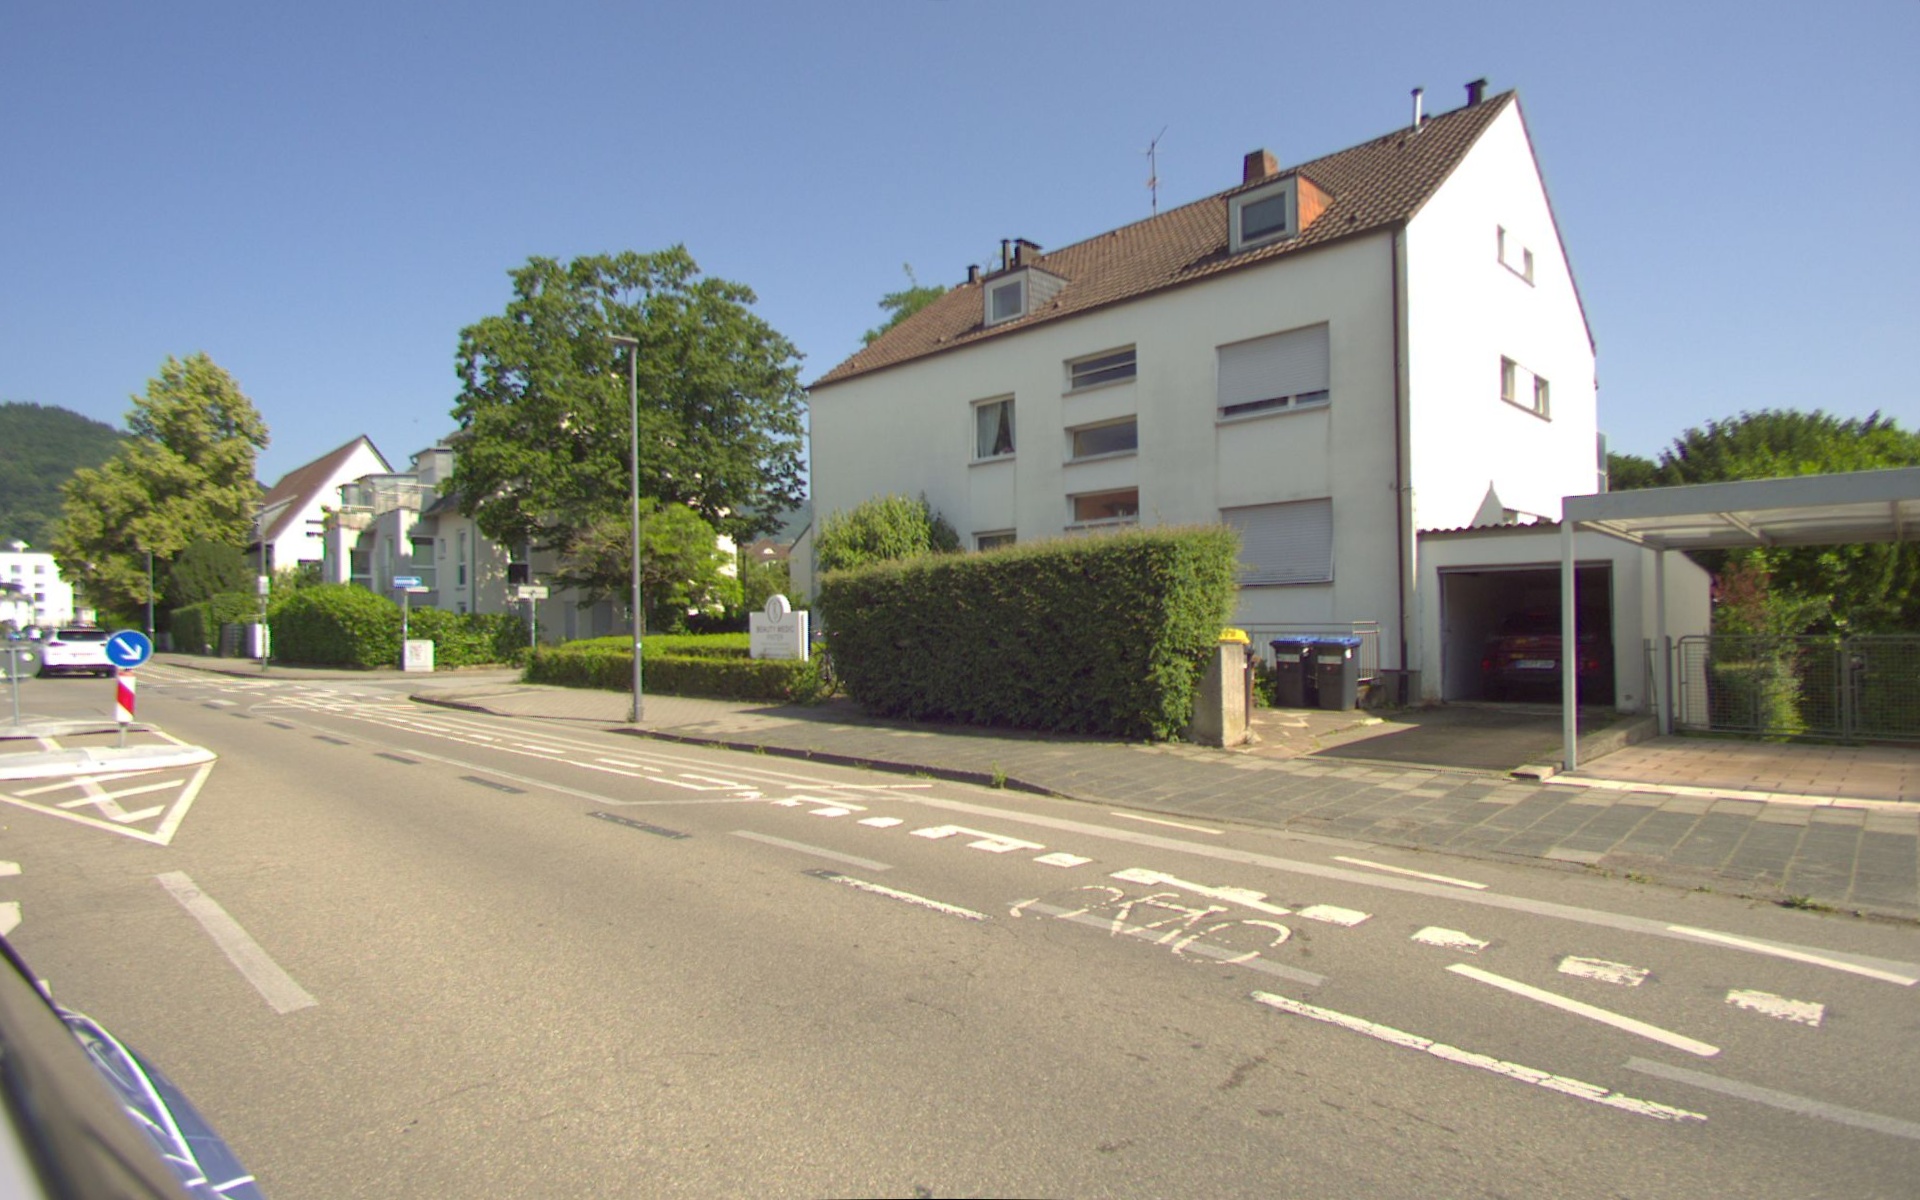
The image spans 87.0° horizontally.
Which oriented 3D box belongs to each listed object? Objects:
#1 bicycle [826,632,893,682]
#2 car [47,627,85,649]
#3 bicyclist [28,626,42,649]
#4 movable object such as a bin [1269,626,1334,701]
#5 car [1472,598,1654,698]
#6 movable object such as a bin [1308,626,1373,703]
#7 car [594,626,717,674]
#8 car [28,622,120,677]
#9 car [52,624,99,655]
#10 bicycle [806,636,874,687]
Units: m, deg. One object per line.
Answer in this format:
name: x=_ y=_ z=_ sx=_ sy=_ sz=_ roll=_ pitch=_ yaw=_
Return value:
bicycle: x=-1.890 y=1.055 z=19.016 sx=1.368 sy=0.880 sz=0.330 roll=-1 pitch=3 yaw=39
car: x=-65.339 y=2.770 z=73.957 sx=1.812 sy=1.497 sz=4.564 roll=-1 pitch=-1 yaw=-45
bicyclist: x=-66.106 y=2.670 z=72.313 sx=0.668 sy=1.592 sz=0.860 roll=4 pitch=-4 yaw=-45
movable object such as a bin: x=5.215 y=0.951 z=15.452 sx=0.707 sy=1.100 sz=0.693 roll=-1 pitch=-1 yaw=41
car: x=9.989 y=0.715 z=16.635 sx=1.899 sy=1.426 sz=3.946 roll=-2 pitch=-1 yaw=41
movable object such as a bin: x=5.659 y=0.940 z=15.054 sx=0.707 sy=1.100 sz=0.693 roll=-1 pitch=-1 yaw=41
car: x=-9.867 y=1.584 z=32.895 sx=1.727 sy=1.423 sz=3.453 roll=-2 pitch=-1 yaw=44
car: x=-29.198 y=1.585 z=33.302 sx=4.507 sy=1.679 sz=1.893 roll=-2 pitch=-3 yaw=44
car: x=-58.342 y=2.560 z=66.729 sx=4.869 sy=1.934 sz=1.864 roll=-1 pitch=-1 yaw=43
bicycle: x=-2.222 y=1.113 z=18.672 sx=1.368 sy=0.880 sz=0.330 roll=-1 pitch=3 yaw=39
